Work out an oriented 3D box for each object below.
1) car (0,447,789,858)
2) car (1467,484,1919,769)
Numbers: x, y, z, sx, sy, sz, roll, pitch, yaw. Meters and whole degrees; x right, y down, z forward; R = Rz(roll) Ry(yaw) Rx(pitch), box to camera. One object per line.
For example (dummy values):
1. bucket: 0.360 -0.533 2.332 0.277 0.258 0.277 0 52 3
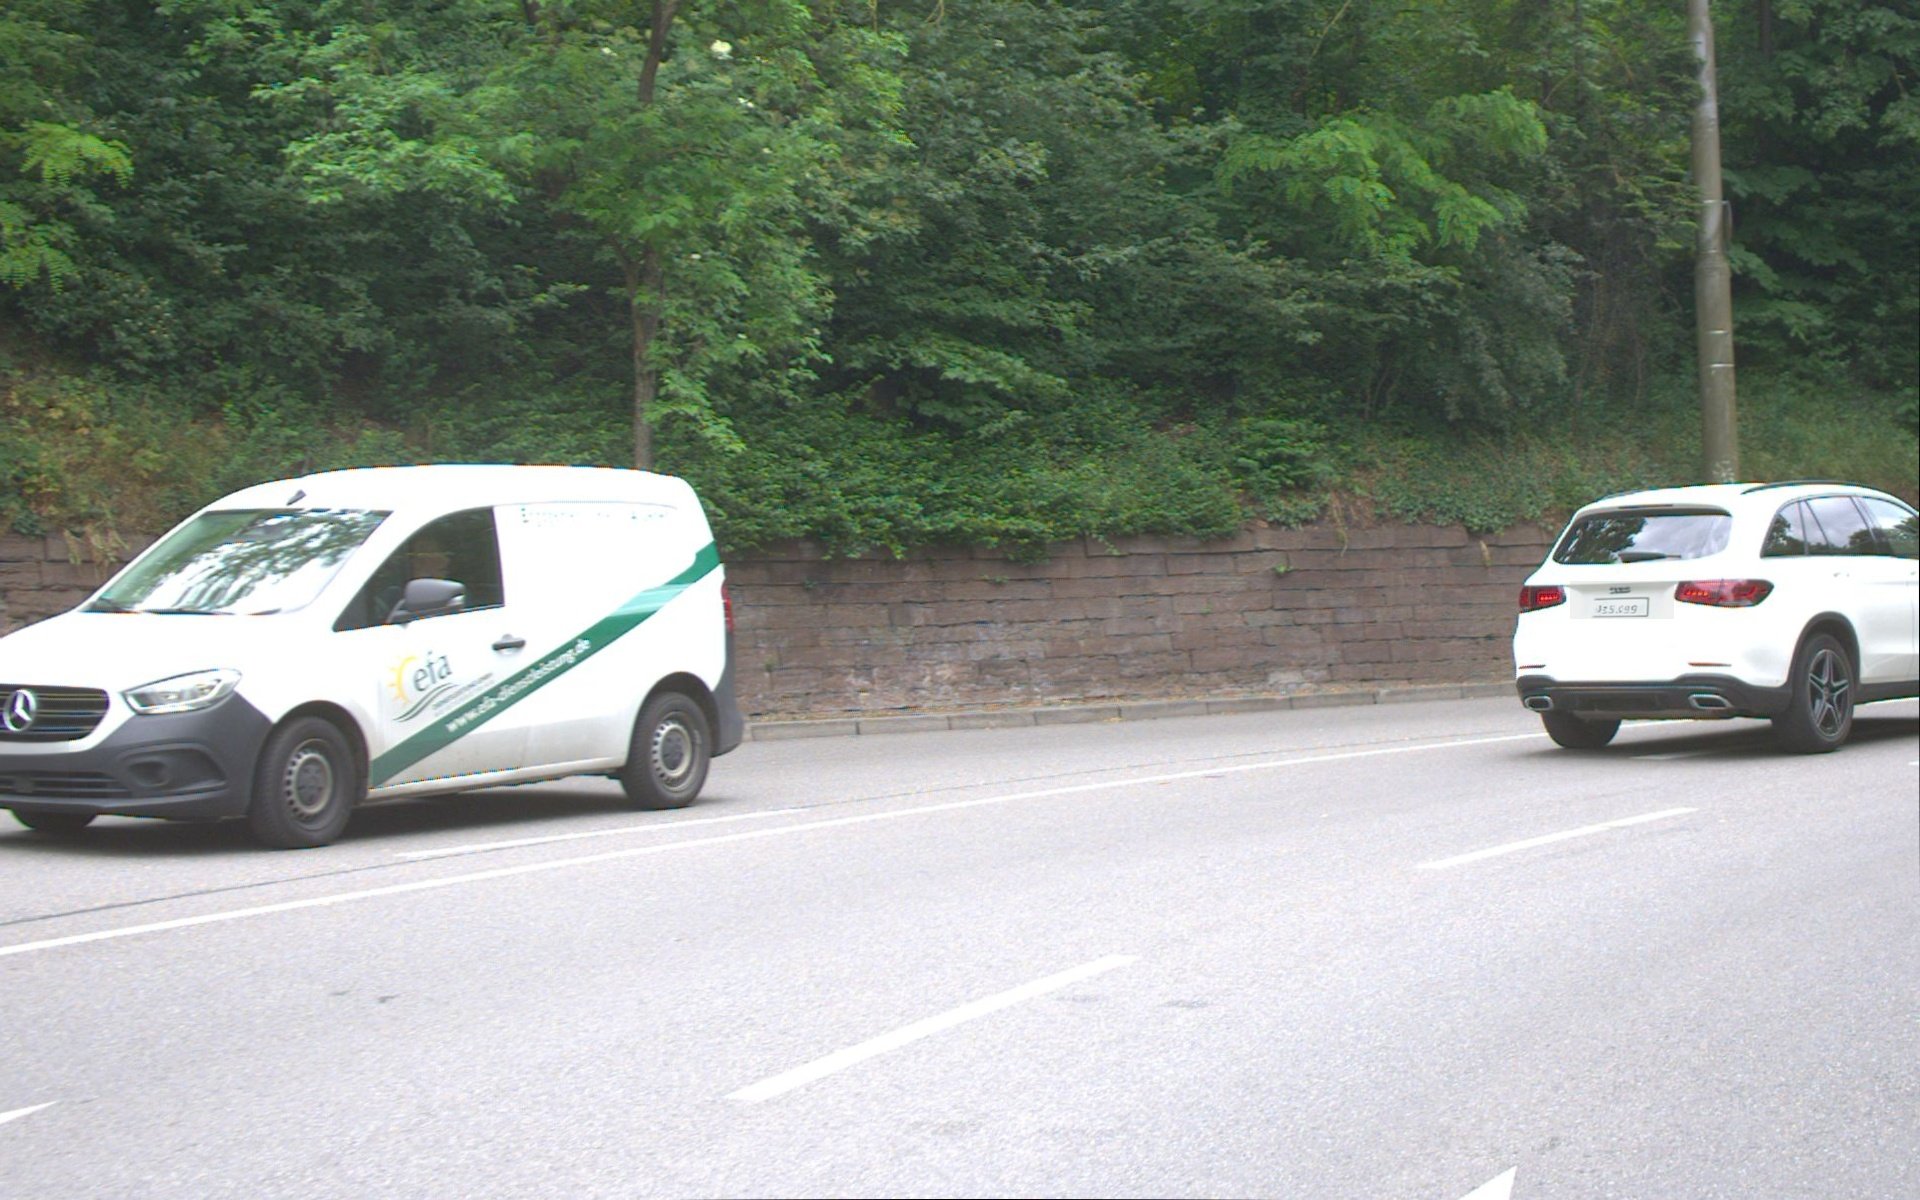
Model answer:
1. car: -2.984 0.189 17.197 1.825 1.758 4.661 2 1 33
2. car: 5.351 0.079 22.039 1.863 1.600 4.660 0 2 42
